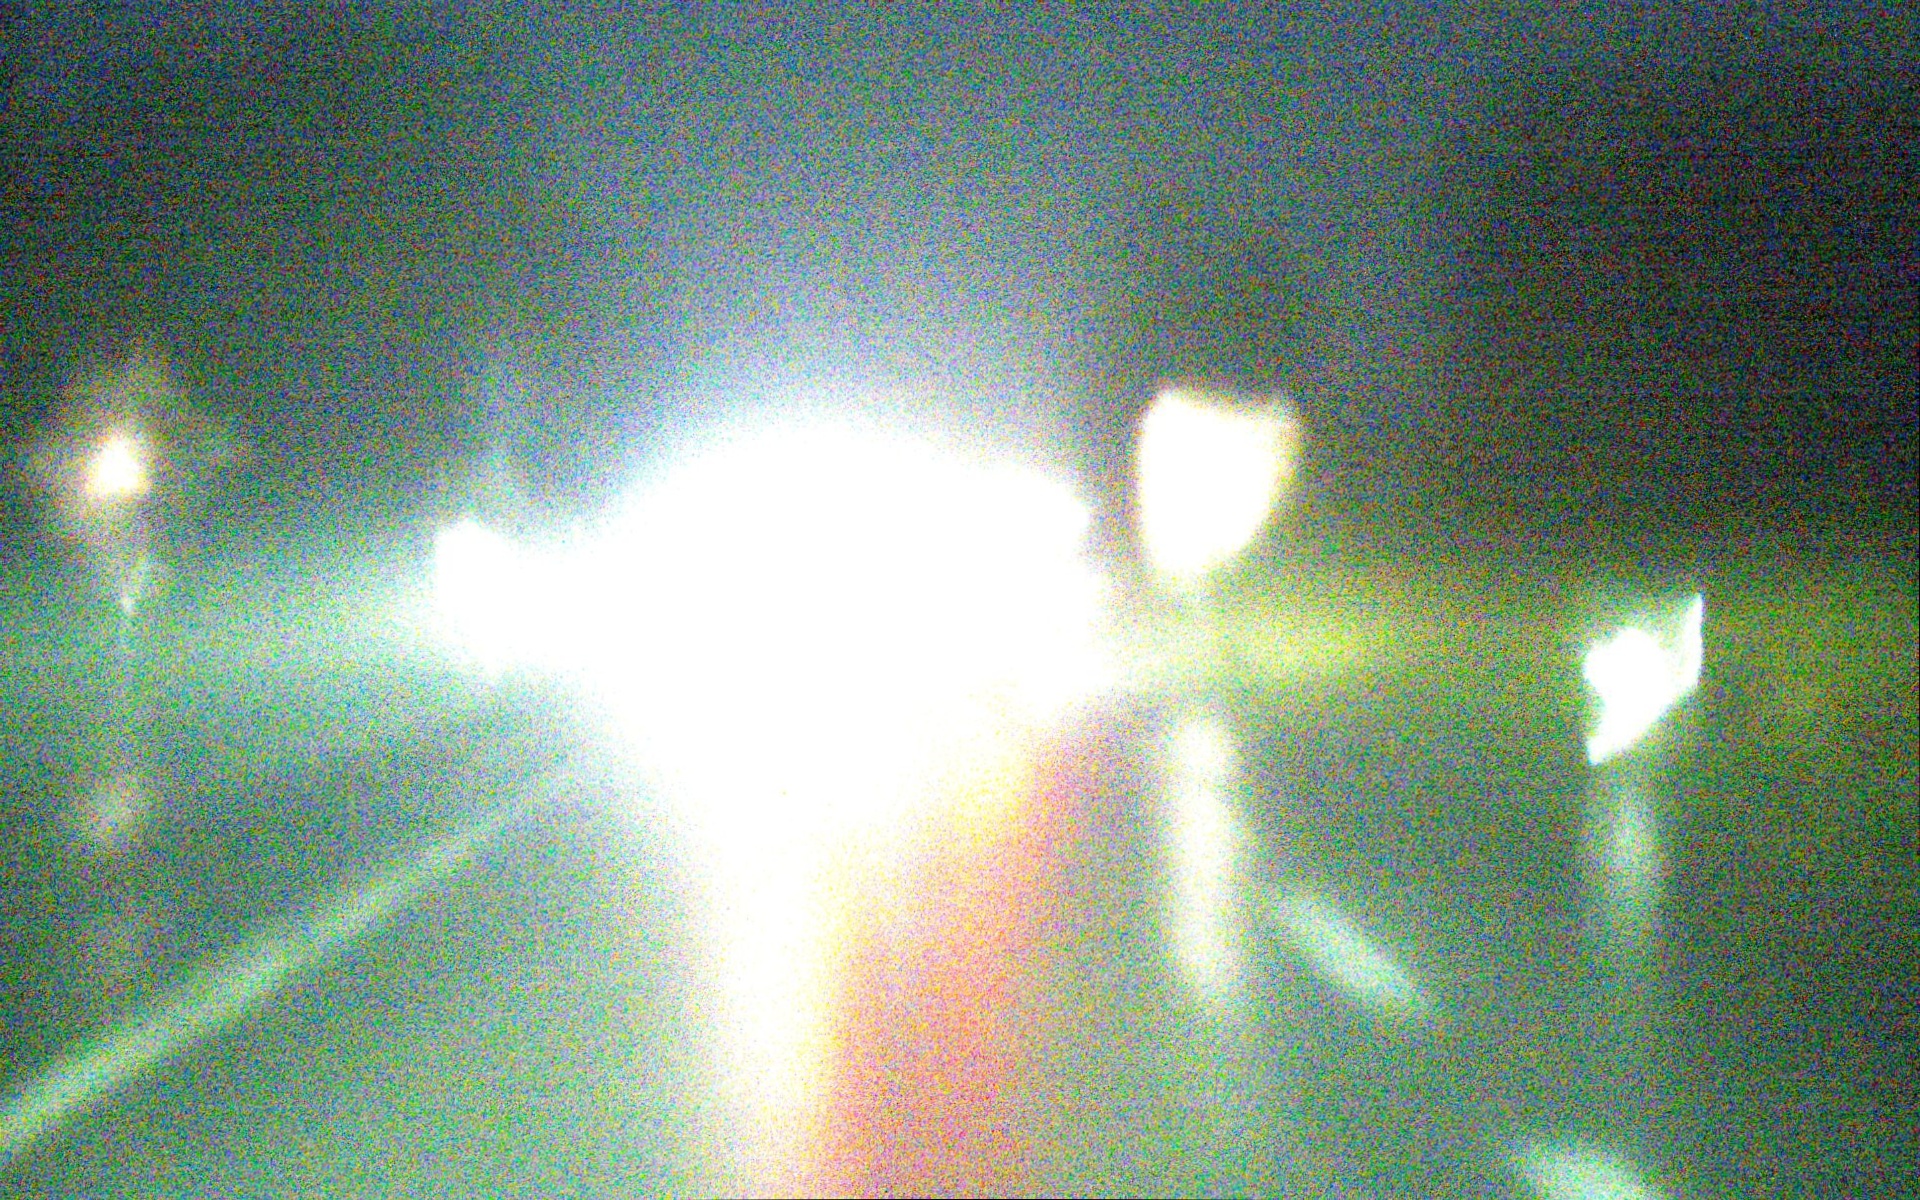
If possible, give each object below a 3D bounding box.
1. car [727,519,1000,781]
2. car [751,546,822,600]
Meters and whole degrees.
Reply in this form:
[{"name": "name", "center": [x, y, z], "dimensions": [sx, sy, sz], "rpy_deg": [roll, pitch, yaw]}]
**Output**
[{"name": "car", "center": [-0.804, 0.349, 28.724], "dimensions": [2.093, 2.007, 4.000], "rpy_deg": [1, 1, -2]}, {"name": "car", "center": [-4.788, -0.751, 94.657], "dimensions": [1.746, 1.421, 3.687], "rpy_deg": [-1, 1, -6]}]
